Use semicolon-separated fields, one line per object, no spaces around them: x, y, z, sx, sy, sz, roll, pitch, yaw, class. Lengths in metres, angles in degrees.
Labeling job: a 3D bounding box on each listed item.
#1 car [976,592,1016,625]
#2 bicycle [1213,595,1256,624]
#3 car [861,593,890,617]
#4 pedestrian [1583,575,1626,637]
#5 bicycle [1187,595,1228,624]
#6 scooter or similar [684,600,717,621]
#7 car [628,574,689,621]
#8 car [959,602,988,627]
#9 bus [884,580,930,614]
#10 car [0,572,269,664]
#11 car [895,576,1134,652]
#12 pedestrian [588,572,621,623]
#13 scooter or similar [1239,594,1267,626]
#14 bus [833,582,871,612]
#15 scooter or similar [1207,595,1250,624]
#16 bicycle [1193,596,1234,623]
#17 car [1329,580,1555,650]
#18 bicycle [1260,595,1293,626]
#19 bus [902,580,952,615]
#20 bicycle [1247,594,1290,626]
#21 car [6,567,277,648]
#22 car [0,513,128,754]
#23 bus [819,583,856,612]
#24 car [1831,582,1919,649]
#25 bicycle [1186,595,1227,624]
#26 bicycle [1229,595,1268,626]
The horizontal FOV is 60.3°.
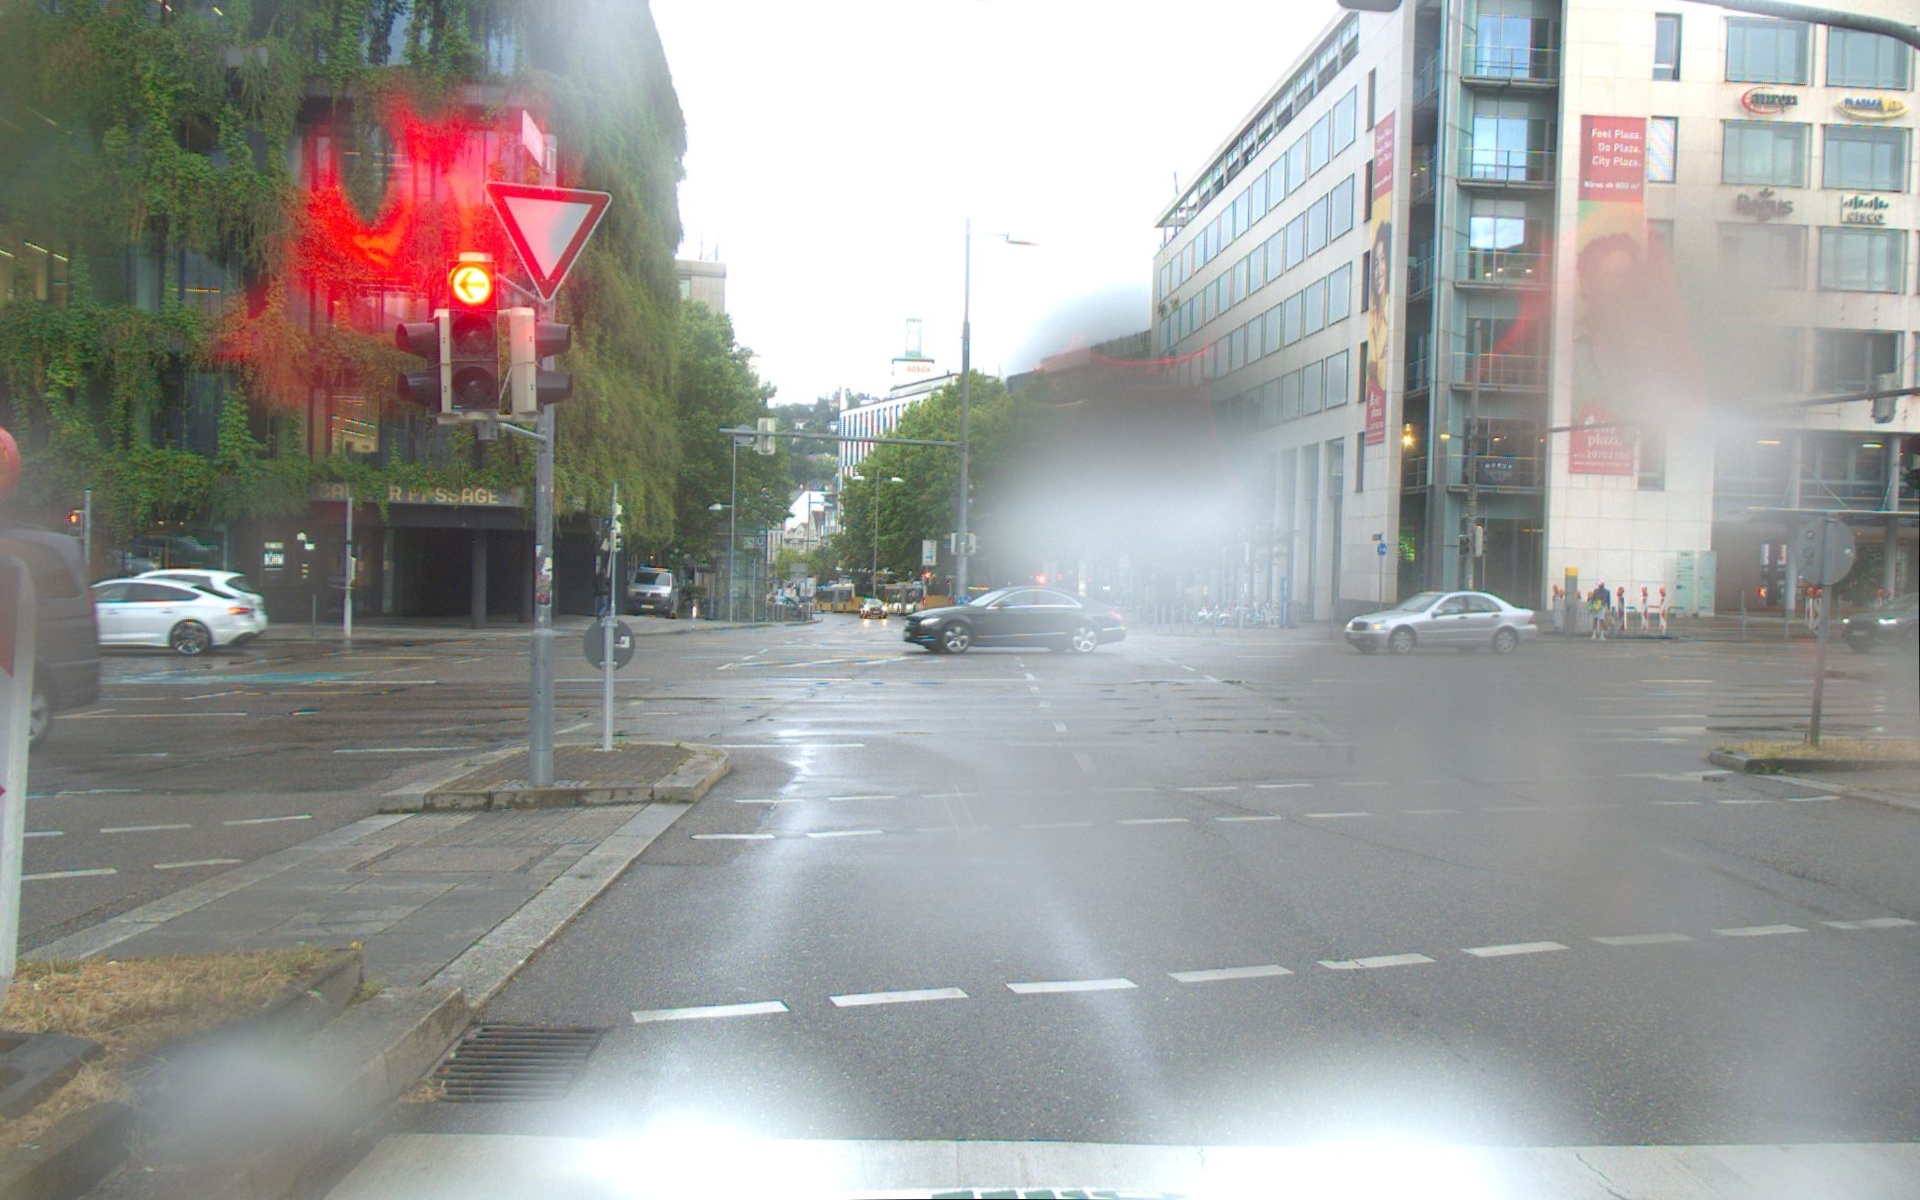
1.712;0.396;79.368;1.745;1.534;3.999;1;0;-1;car
11.897;0.428;71.769;1.741;1.215;0.586;1;-1;1;bicycle
-6.498;0.382;126.634;2.121;1.796;5.107;1;0;-4;car
19.467;0.190;49.975;0.942;1.848;0.836;1;-1;-1;pedestrian
11.010;0.420;73.559;1.741;1.215;0.586;1;-1;1;bicycle
-12.929;0.538;82.332;0.612;1.022;1.653;1;0;37;scooter or similar
-12.384;-0.084;68.132;1.832;1.871;3.999;1;0;-1;car
0.852;0.941;106.712;1.745;1.534;3.999;1;0;-1;car
-4.961;-0.289;153.006;2.585;3.048;7.417;0;0;-16;bus
-15.432;0.312;30.677;4.608;1.539;1.802;-2;0;-17;car
1.147;0.321;35.423;4.766;1.503;1.992;1;-2;-15;car
-11.869;-0.082;55.173;0.915;1.673;0.774;1;-1;-1;pedestrian
11.390;0.388;64.315;0.946;1.215;0.453;1;-1;40;scooter or similar
-11.338;-0.317;173.055;2.585;3.048;7.296;0;0;-16;bus
11.552;0.419;71.141;1.741;1.215;0.586;1;-1;1;scooter or similar
11.427;0.431;74.483;1.741;1.215;0.586;1;-1;1;bicycle
11.077;0.340;38.094;4.640;1.503;1.992;1;1;-15;car
12.864;0.425;67.131;0.575;1.215;1.776;1;-1;37;bicycle
-2.965;-0.232;145.889;2.585;3.048;7.417;0;0;-16;bus
12.127;0.404;65.011;1.590;1.215;0.586;1;-1;25;bicycle
-16.424;0.164;33.455;4.608;1.539;1.802;1;0;-17;car
-9.038;0.260;12.651;1.951;1.961;4.968;1;0;15;car
-13.335;-0.326;180.122;2.585;3.048;7.417;0;0;-16;bus
24.883;0.415;42.377;4.396;1.637;1.826;1;0;-12;car
10.867;0.415;72.922;1.741;1.215;0.586;1;-1;1;bicycle
11.589;0.401;66.555;0.578;1.215;1.766;1;0;-28;bicycle
